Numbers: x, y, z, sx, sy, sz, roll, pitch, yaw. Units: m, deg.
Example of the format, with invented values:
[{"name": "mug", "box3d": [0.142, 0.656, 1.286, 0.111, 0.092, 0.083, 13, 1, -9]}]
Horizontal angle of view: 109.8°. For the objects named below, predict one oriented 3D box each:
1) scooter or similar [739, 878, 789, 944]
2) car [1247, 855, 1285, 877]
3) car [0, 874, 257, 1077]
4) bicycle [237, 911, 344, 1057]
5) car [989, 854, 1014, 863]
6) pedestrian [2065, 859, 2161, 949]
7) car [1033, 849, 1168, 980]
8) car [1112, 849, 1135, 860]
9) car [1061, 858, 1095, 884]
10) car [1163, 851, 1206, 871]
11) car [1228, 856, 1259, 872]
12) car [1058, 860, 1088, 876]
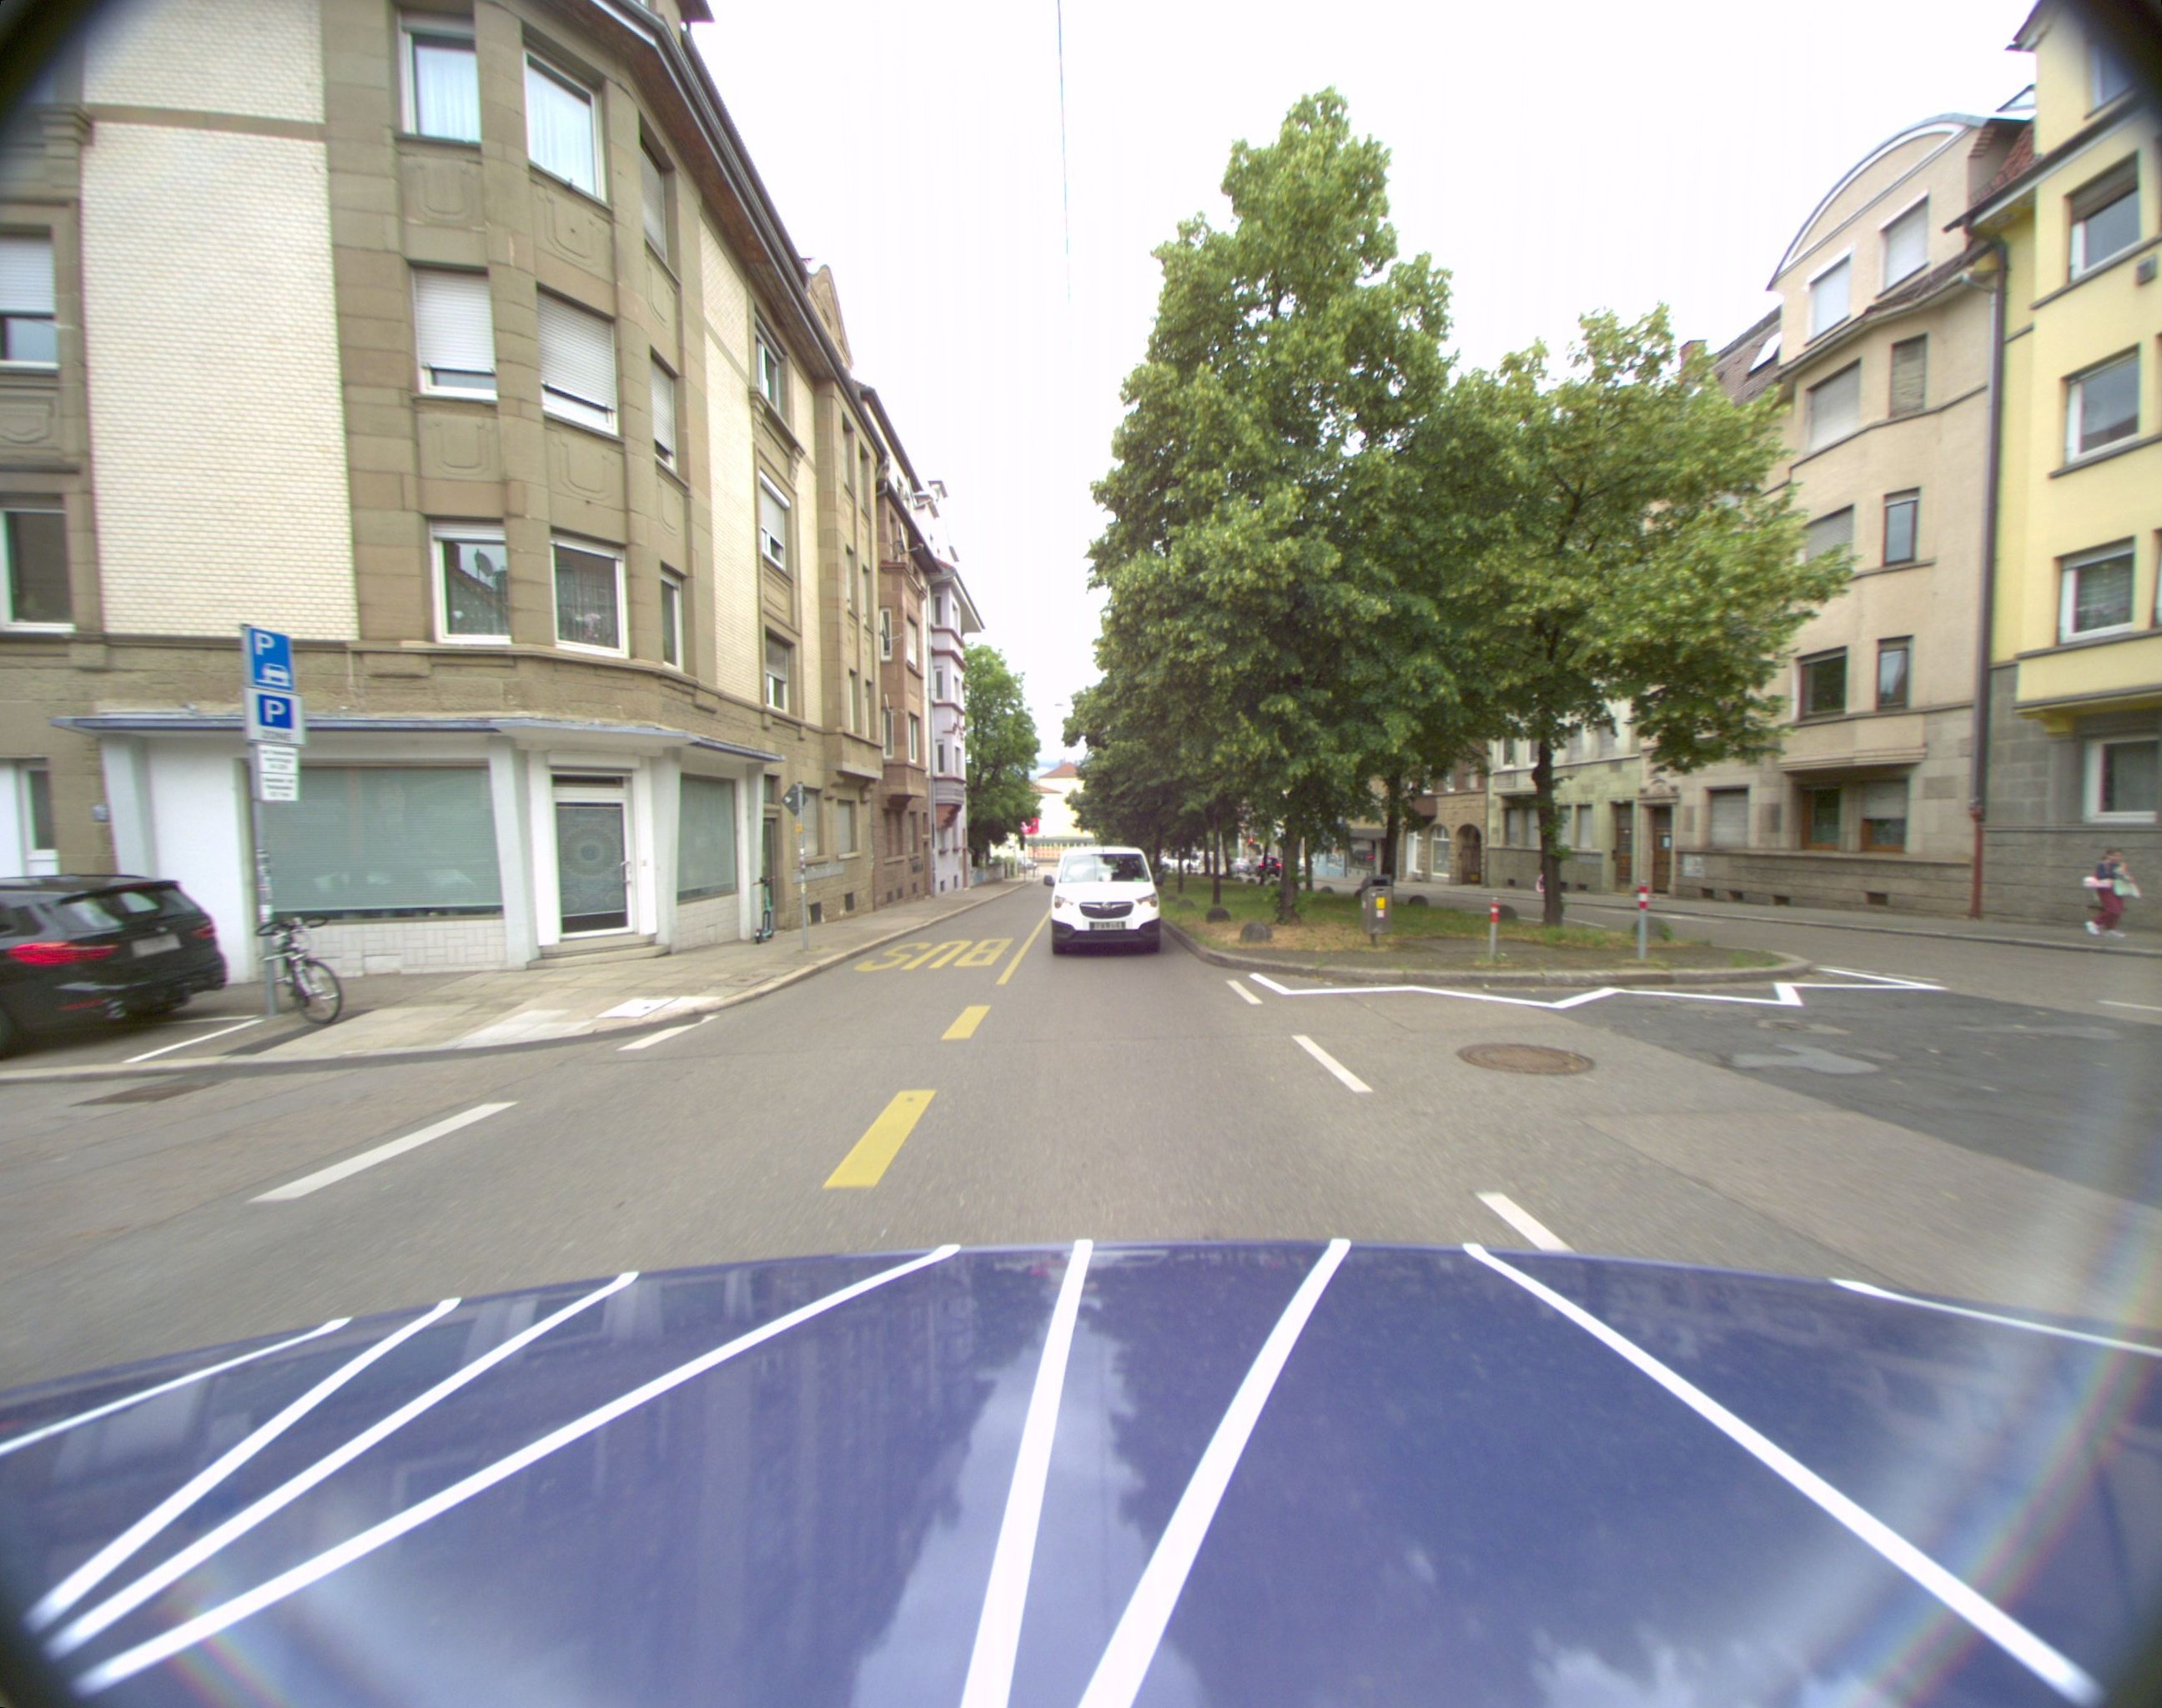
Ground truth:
[{"name": "scooter or similar", "box3d": [-5.994, 1.068, 14.411, 0.411, 1.202, 1.146, 1, -3, 0]}, {"name": "car", "box3d": [14.819, 0.925, 61.068, 1.820, 1.627, 4.678, 0, 1, -1]}, {"name": "car", "box3d": [-11.415, 1.185, 7.316, 4.378, 1.637, 1.783, -2, 5, -11]}, {"name": "bicycle", "box3d": [-8.490, 1.320, 8.228, 0.642, 1.134, 2.068, -6, 7, -44]}, {"name": "car", "box3d": [-13.042, 0.723, 124.392, 3.951, 1.422, 1.799, -1, 2, 37]}, {"name": "pedestrian", "box3d": [17.379, 0.822, 12.770, 0.700, 1.451, 0.704, -2, 0, 1]}, {"name": "car", "box3d": [0.377, 0.866, 12.996, 1.857, 1.798, 4.730, -1, 0, 3]}, {"name": "car", "box3d": [6.748, 0.021, 120.699, 2.207, 1.563, 4.483, -1, 2, 22]}, {"name": "car", "box3d": [-0.231, 1.058, 48.473, 2.038, 1.541, 4.035, -2, 0, -2]}, {"name": "car", "box3d": [11.463, 0.762, 84.172, 4.258, 2.002, 2.003, -1, 2, 31]}, {"name": "car", "box3d": [14.685, 0.936, 68.901, 1.673, 1.398, 4.294, 0, -1, -3]}, {"name": "car", "box3d": [-0.865, 1.436, 78.033, 1.955, 1.541, 4.030, -2, 0, -17]}]
